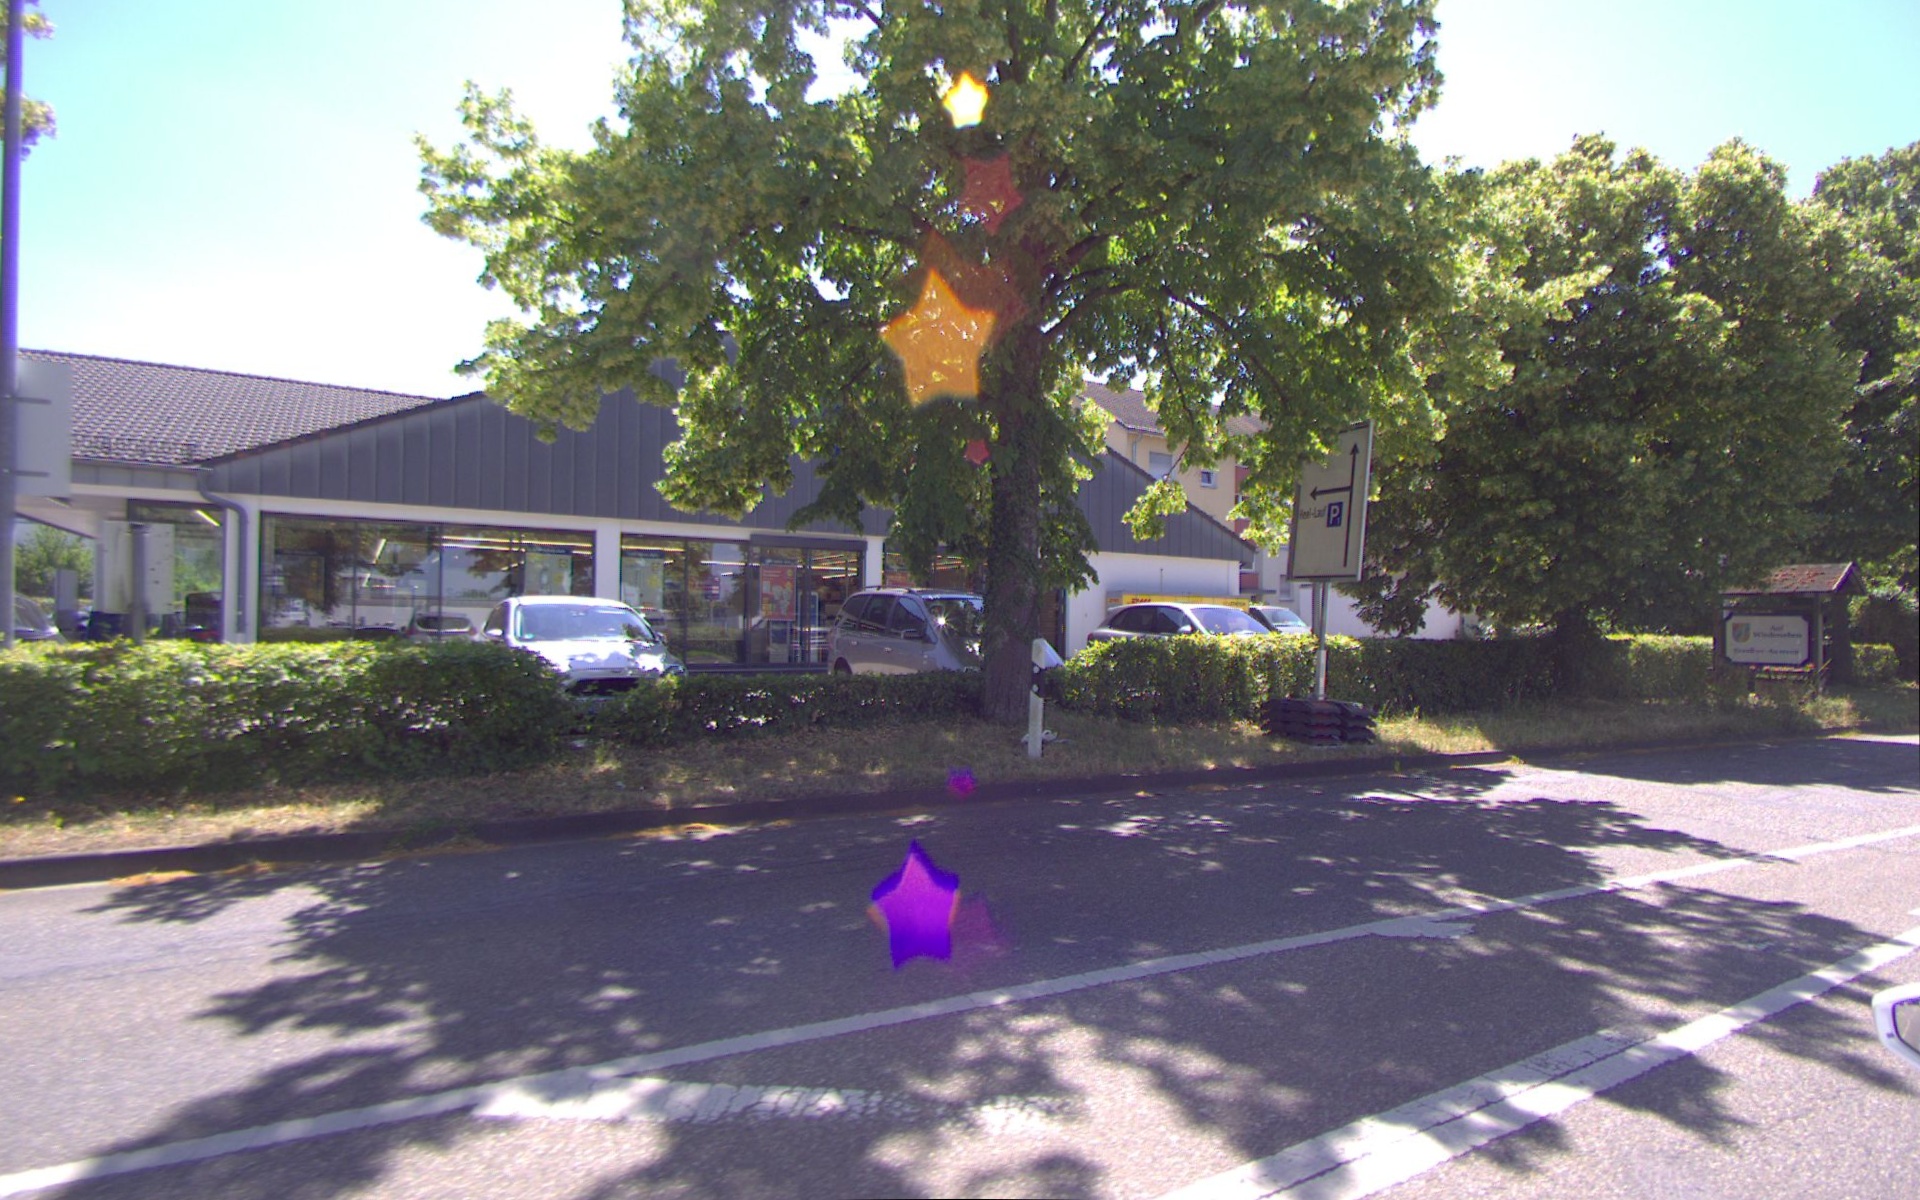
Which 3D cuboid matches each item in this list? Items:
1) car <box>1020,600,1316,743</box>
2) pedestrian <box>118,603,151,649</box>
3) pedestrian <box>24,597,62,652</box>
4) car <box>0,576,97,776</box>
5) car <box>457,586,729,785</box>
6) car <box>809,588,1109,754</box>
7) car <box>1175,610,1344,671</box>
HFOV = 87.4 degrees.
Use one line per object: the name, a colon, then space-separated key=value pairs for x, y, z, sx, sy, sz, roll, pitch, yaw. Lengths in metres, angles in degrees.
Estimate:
car: x=3.052 y=0.975 z=15.675 sx=2.049 sy=1.800 sz=4.376 roll=2 pitch=0 yaw=-32
pedestrian: x=-28.920 y=0.908 z=35.191 sx=0.623 sy=1.601 sz=0.674 roll=2 pitch=0 yaw=-14
pedestrian: x=-26.066 y=0.698 z=28.561 sx=0.670 sy=1.534 sz=0.627 roll=2 pitch=-1 yaw=-37
car: x=-9.054 y=0.560 z=8.562 sx=1.912 sy=1.545 sz=4.007 roll=2 pitch=0 yaw=-32
car: x=-4.128 y=0.719 z=10.794 sx=1.874 sy=1.641 sz=4.376 roll=2 pitch=0 yaw=-32
car: x=-0.213 y=0.804 z=13.623 sx=2.049 sy=1.800 sz=4.376 roll=2 pitch=0 yaw=-32
car: x=9.435 y=1.256 z=32.099 sx=2.214 sy=1.592 sz=4.960 roll=2 pitch=1 yaw=-31
